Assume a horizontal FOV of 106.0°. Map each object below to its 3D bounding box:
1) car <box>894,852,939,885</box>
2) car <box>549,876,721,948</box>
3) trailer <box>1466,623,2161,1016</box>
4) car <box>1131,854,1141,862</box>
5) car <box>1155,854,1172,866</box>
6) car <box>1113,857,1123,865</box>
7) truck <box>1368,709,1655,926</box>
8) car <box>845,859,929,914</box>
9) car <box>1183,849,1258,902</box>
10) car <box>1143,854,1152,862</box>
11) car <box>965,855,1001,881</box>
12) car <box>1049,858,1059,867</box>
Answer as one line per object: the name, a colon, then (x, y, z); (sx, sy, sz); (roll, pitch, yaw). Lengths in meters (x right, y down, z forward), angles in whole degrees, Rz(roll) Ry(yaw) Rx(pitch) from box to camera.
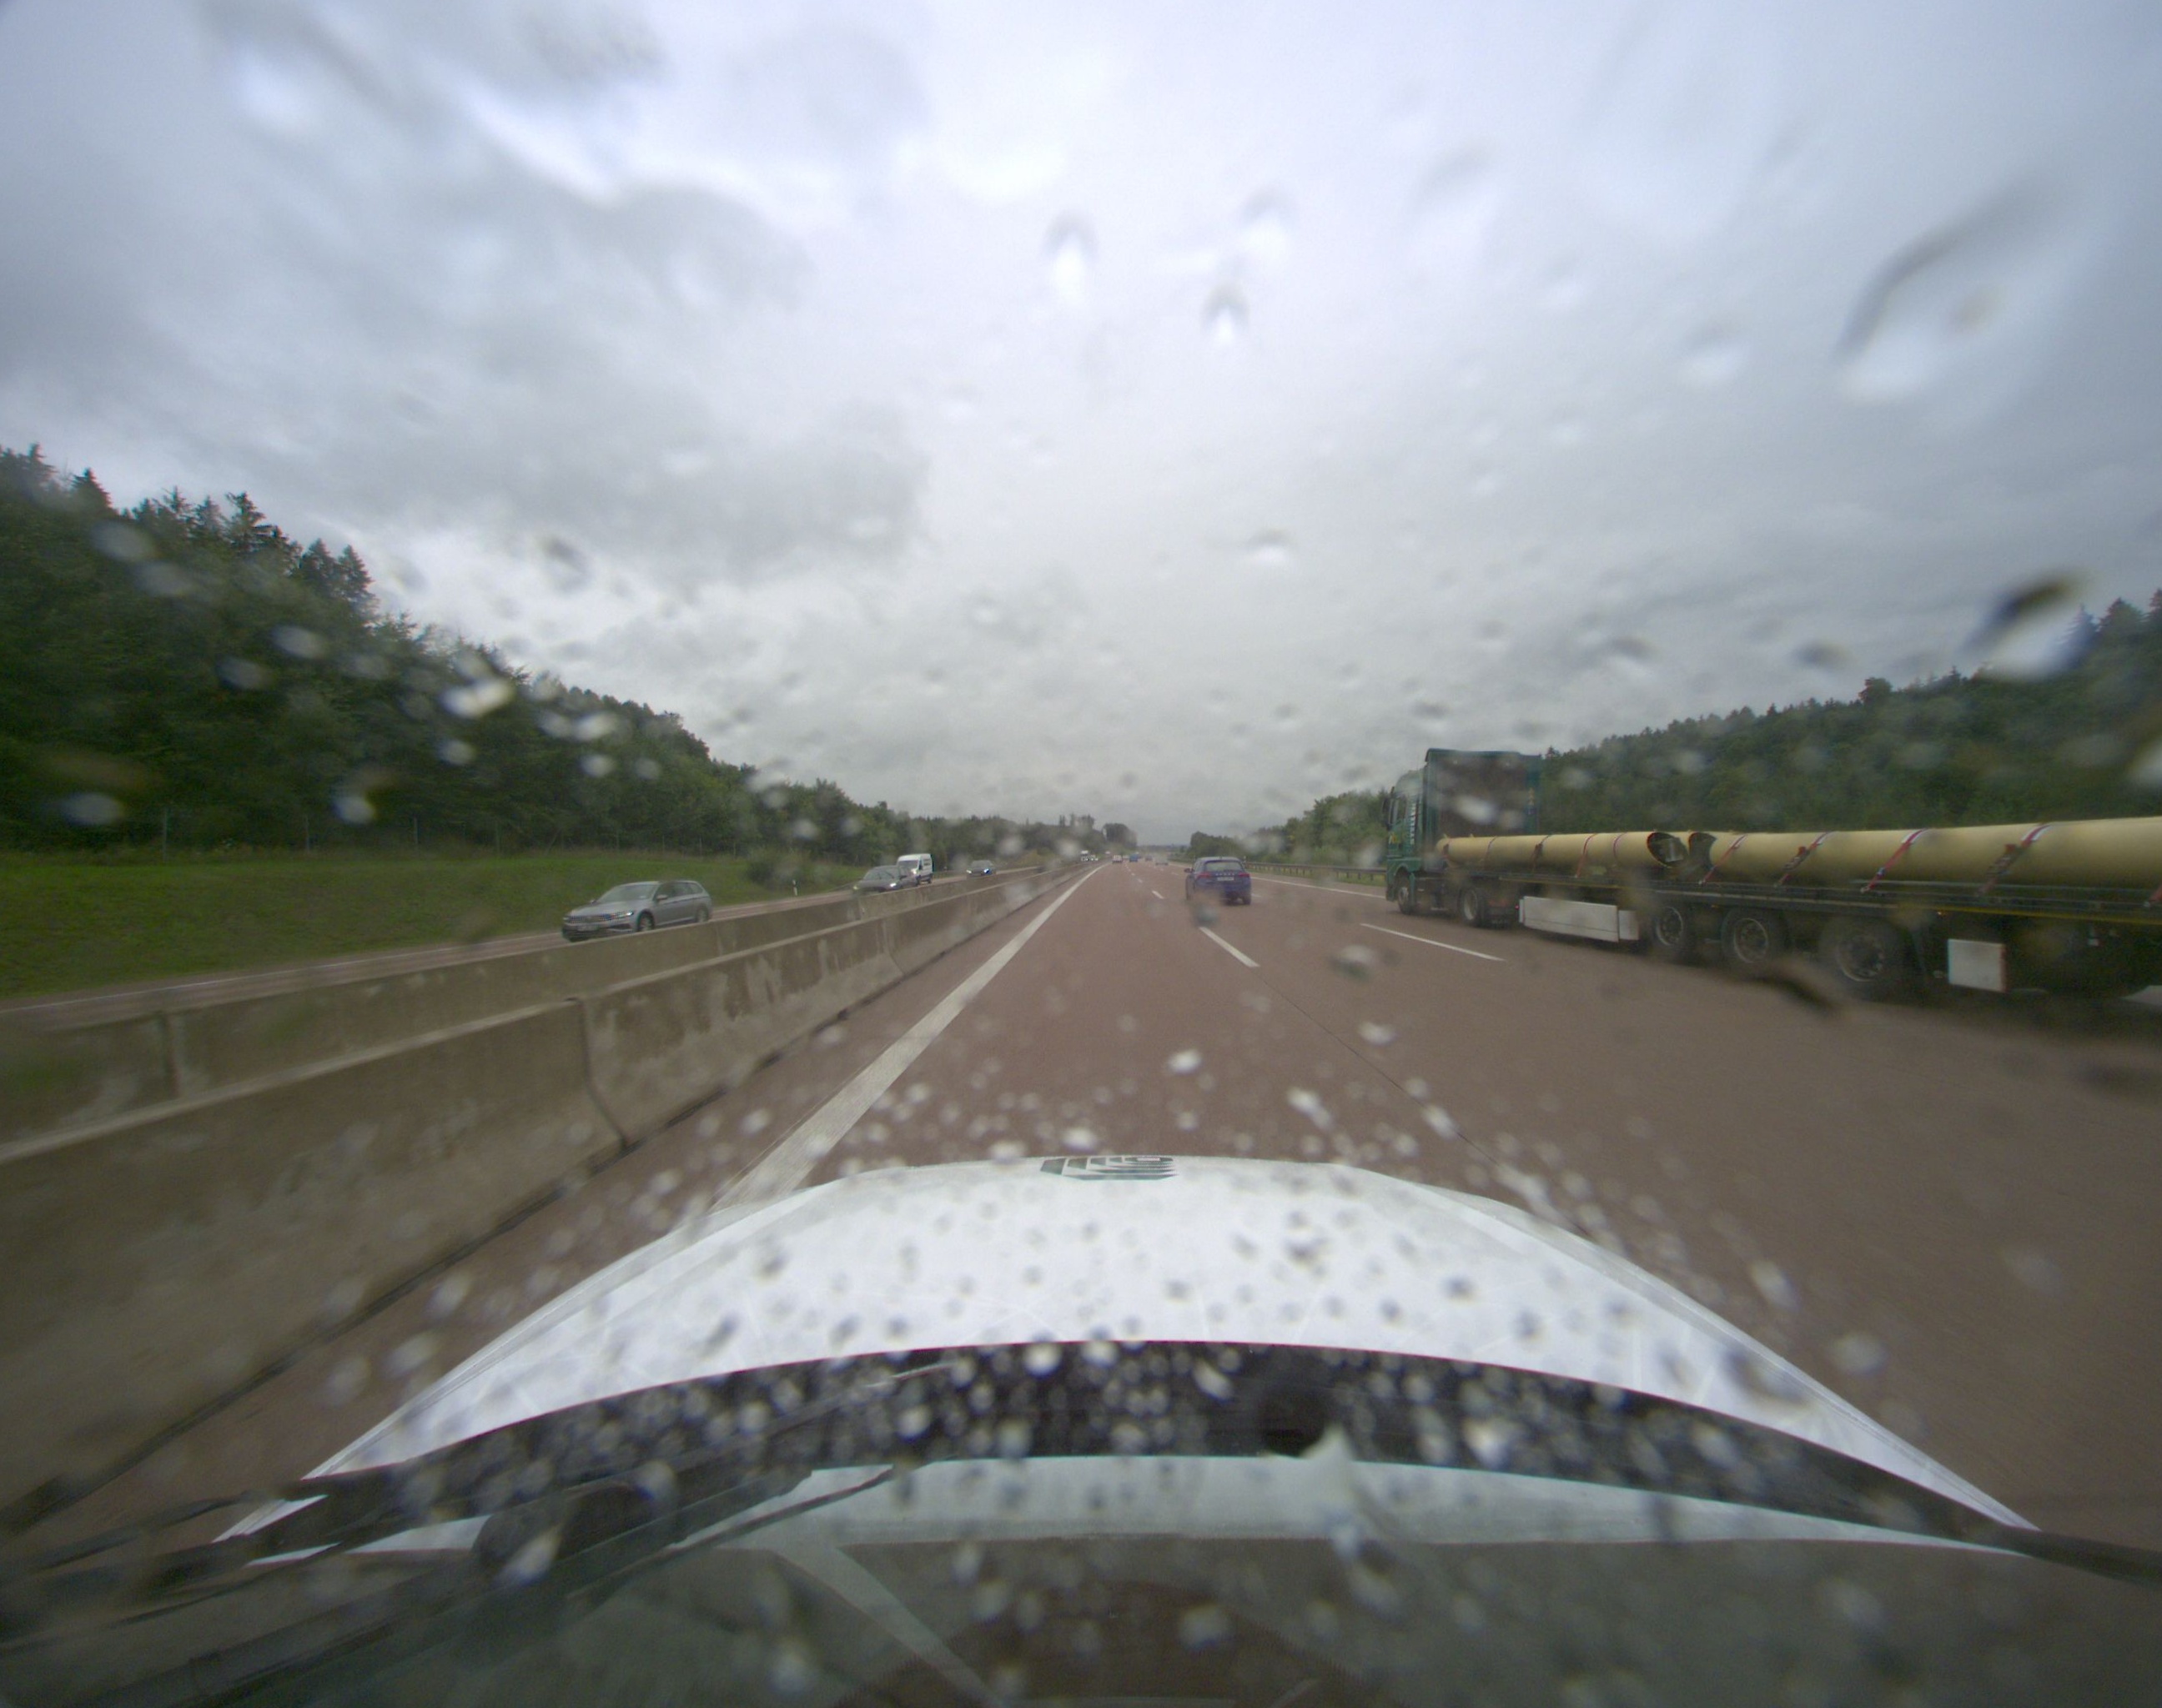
car: (-13.481, 1.216, 67.134); (2.215, 2.585, 6.258); (-1, -1, 3)
car: (-11.288, 1.405, 21.087); (1.644, 1.389, 4.811); (-4, 0, 1)
trailer: (8.941, -0.135, 10.453); (2.870, 2.676, 11.400); (-1, -1, 2)
car: (13.253, 0.932, 196.100); (2.314, 1.750, 4.878); (-1, -1, 1)
car: (12.792, 0.932, 127.091); (2.314, 1.750, 4.878); (-1, -1, 1)
car: (7.304, 1.378, 160.475); (1.867, 1.444, 4.879); (-1, -1, 2)
truck: (9.133, -0.603, 18.468); (2.887, 3.965, 6.989); (-1, -1, 1)
car: (-7.677, 1.271, 32.826); (1.987, 2.014, 5.525); (-1, -1, 1)
car: (4.390, 0.682, 26.172); (1.765, 1.564, 4.147); (-1, -1, 1)
car: (17.386, 1.178, 213.433); (1.986, 2.014, 4.000); (-1, -1, 1)
car: (-7.527, 1.049, 62.933); (1.985, 1.827, 4.689); (-2, 0, 3)
car: (-5.486, 1.759, 166.861); (1.709, 1.582, 4.318); (-3, -1, 2)
